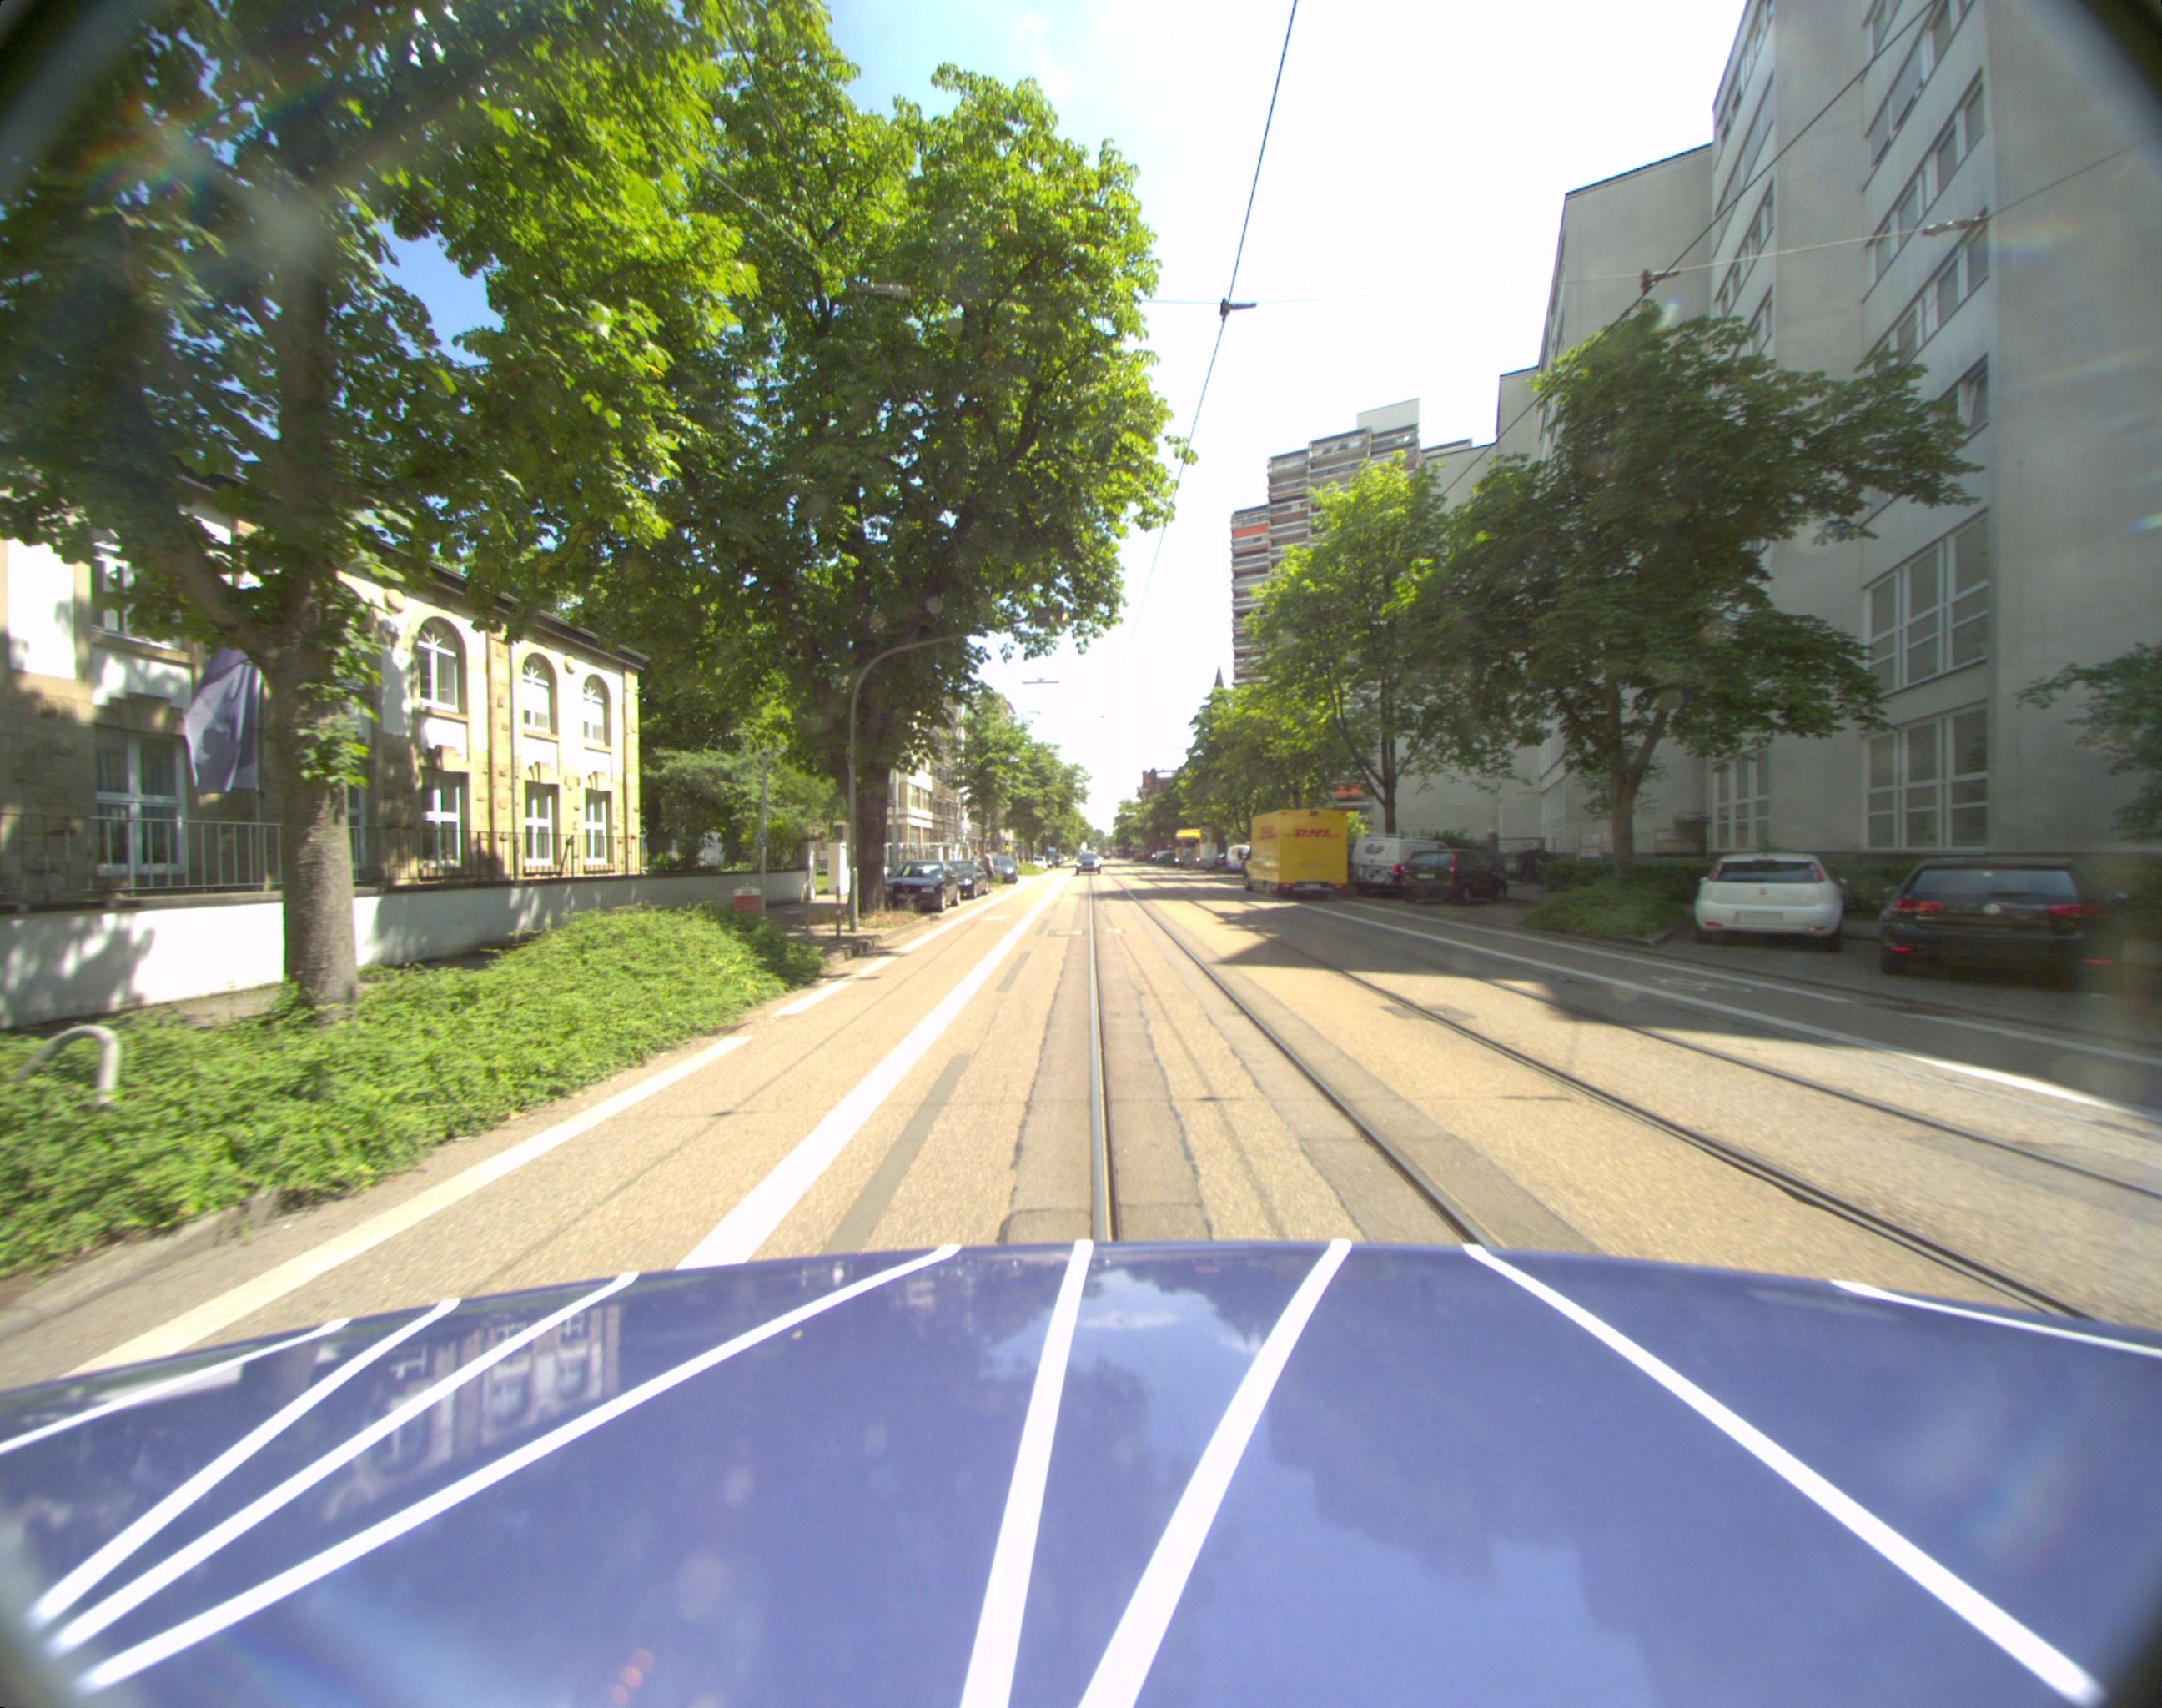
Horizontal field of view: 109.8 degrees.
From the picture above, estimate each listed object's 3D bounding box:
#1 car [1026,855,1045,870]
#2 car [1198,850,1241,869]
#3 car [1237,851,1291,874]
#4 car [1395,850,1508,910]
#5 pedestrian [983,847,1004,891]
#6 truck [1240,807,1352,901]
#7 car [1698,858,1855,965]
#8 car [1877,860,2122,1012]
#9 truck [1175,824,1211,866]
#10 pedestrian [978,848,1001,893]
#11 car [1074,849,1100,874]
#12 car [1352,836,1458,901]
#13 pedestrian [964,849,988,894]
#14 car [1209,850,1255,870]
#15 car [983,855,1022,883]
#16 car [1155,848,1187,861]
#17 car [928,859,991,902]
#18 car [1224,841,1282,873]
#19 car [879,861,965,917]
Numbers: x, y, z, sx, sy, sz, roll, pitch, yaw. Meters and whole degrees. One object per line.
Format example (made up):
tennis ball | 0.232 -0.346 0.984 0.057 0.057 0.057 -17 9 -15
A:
car | -4.479 0.831 75.126 1.626 1.395 4.000 1 0 1
car | 11.311 0.447 61.899 1.678 1.445 3.682 0 1 45
car | 11.727 0.523 48.676 1.678 1.445 3.682 0 1 45
car | 10.871 0.698 22.220 3.692 1.566 1.678 -1 1 -42
pedestrian | -3.781 0.635 32.855 0.741 1.839 0.645 -1 1 -25
truck | 7.343 -0.012 26.758 2.306 2.903 6.516 -1 0 2
car | 11.566 0.826 12.589 1.721 1.445 3.635 0 1 45
car | 11.292 0.828 9.454 3.953 1.445 1.678 -1 1 -40
truck | 12.035 -0.916 80.926 2.672 4.155 10.484 -1 0 14
pedestrian | -3.778 0.687 31.434 0.645 1.839 0.741 0 1 18
car | 0.477 0.505 55.074 1.752 1.641 4.298 -2 0 1
car | 11.014 0.428 25.681 4.061 2.030 1.598 -1 1 -40
pedestrian | -4.399 0.723 31.935 0.645 1.839 0.741 0 1 27
car | 11.711 0.457 58.862 1.678 1.411 3.682 0 1 45
car | -4.176 0.783 40.992 1.626 1.395 4.000 1 0 1
car | 13.159 0.038 110.975 4.337 1.797 1.995 -1 1 -32
car | -4.456 0.933 28.407 1.626 1.395 4.000 1 0 1
car | 11.776 0.161 51.924 1.873 2.095 4.596 0 1 42
car | -4.531 0.948 22.129 1.626 1.395 3.823 1 0 1
